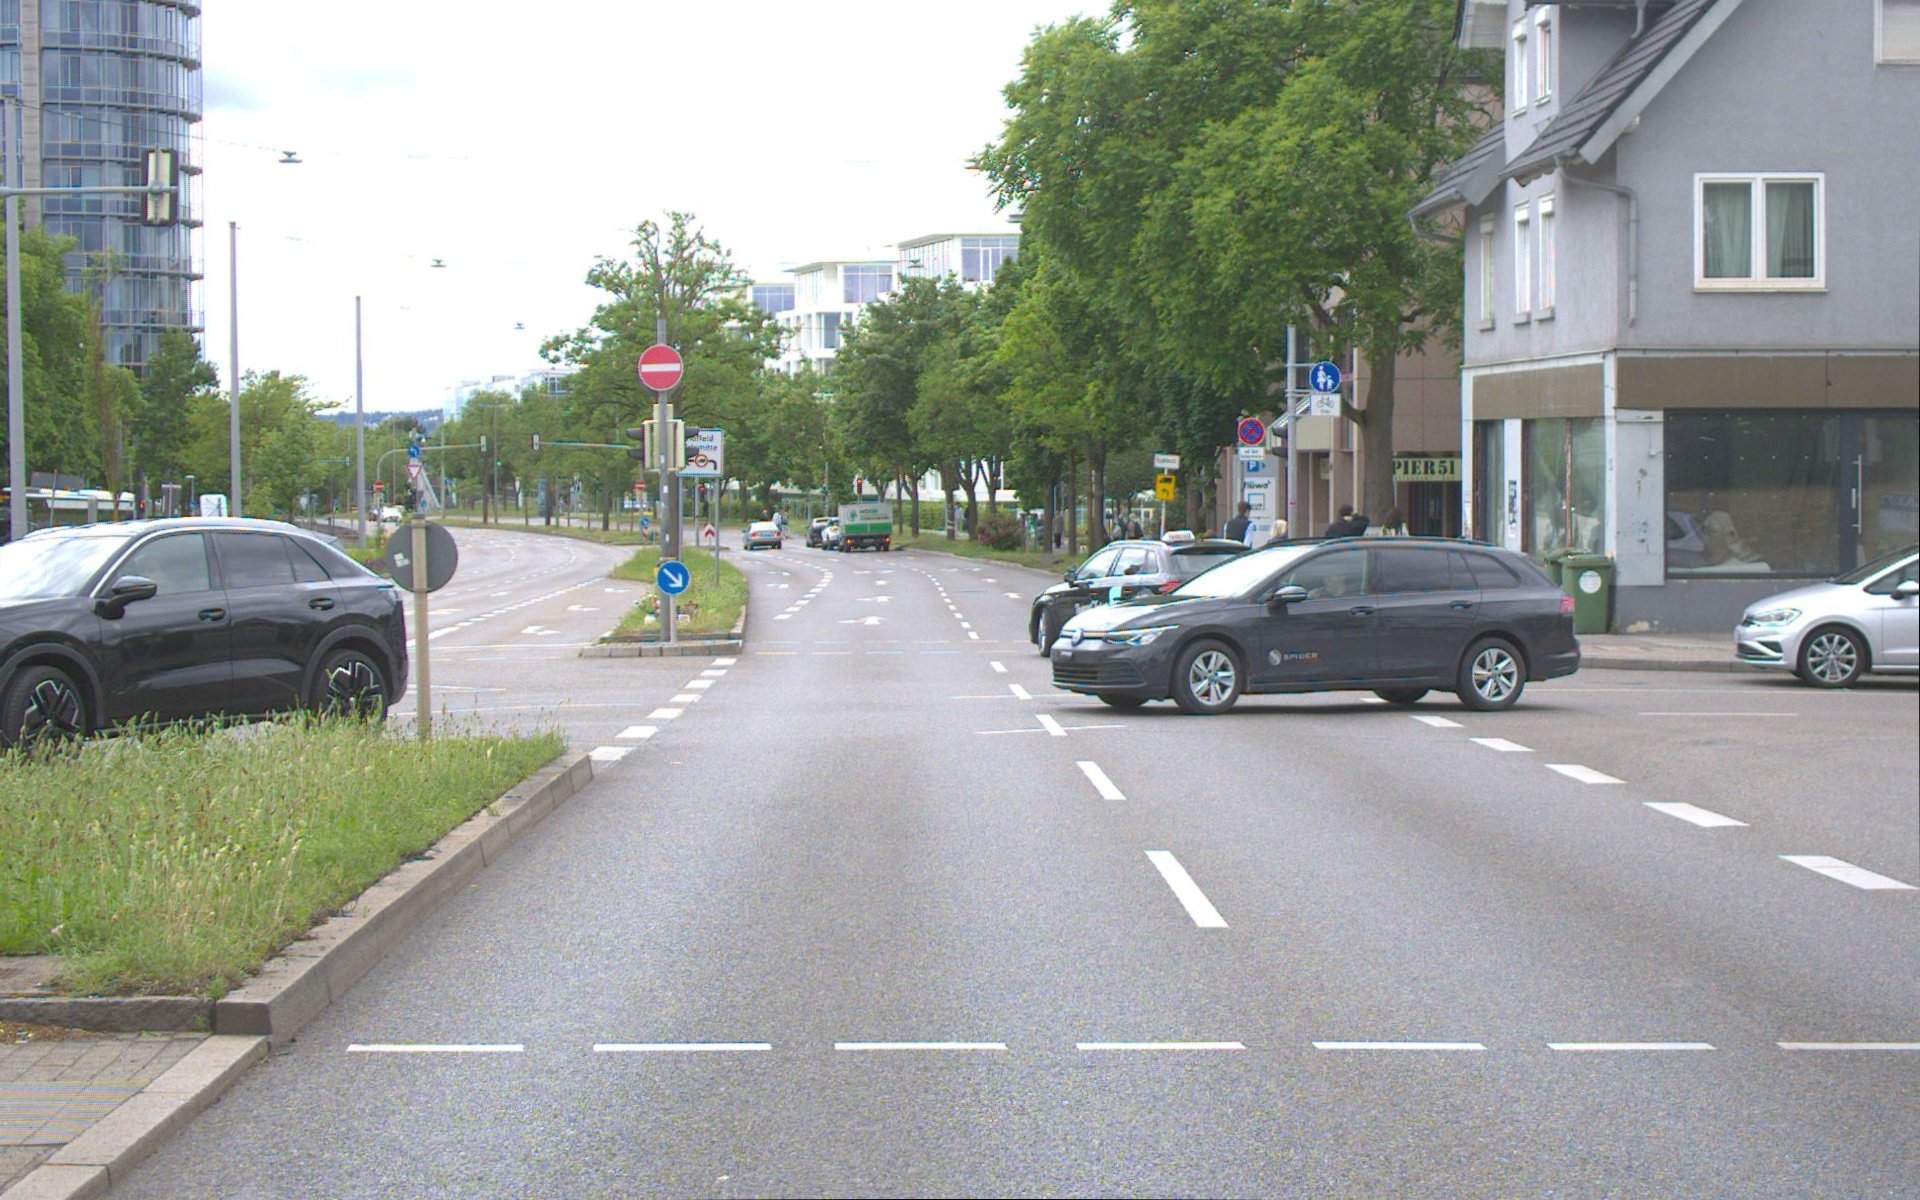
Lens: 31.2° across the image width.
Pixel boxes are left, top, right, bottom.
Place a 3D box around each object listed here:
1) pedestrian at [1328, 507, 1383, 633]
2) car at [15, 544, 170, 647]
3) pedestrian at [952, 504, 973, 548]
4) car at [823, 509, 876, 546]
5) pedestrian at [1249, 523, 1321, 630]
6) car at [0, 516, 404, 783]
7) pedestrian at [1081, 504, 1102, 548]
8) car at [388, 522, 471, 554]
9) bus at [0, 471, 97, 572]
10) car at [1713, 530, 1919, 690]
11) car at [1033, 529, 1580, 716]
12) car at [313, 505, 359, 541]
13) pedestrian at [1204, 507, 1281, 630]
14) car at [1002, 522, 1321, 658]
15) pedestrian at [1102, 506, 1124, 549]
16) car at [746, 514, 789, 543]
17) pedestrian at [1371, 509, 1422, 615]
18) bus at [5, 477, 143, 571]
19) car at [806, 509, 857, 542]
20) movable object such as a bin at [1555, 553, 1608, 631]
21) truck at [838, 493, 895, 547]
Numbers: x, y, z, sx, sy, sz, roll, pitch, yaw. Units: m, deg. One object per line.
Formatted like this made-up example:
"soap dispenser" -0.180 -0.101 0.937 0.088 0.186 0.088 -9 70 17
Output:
"pedestrian" 5.564 -0.429 48.386 0.705 1.754 1.052 -1 1 4
"car" -12.808 -0.094 50.927 1.684 1.457 3.556 -1 1 -5
"pedestrian" 0.121 -3.882 180.103 0.930 2.300 1.011 1 0 -10
"car" -5.324 -3.482 165.069 2.251 1.751 4.934 -1 1 -5
"pedestrian" 4.647 -0.338 49.152 0.867 1.502 0.708 -1 1 -9
"car" -5.496 0.244 21.388 1.838 1.516 4.065 1 2 31
"pedestrian" 4.790 -2.699 125.391 0.650 1.564 0.671 -1 1 -8
"car" -25.489 -2.971 165.079 3.554 1.487 1.706 0 1 23
"bus" -31.405 -2.573 114.466 3.144 3.214 10.286 -1 1 -3
"car" 9.834 0.108 34.743 4.101 1.535 1.828 2 1 5
"car" 2.935 0.166 29.156 4.273 1.476 1.715 0 2 -21
"car" -36.351 -4.469 200.262 1.965 2.007 4.000 1 1 -1
"pedestrian" 4.106 -0.460 49.959 0.868 1.773 0.707 -1 1 -43
"car" 2.309 -0.140 40.501 1.889 1.489 4.099 -1 1 -28
"pedestrian" 5.572 -2.640 125.257 0.650 1.564 0.671 -1 1 -8
"car" -9.706 -3.601 173.155 1.967 1.415 4.023 -1 1 -5
"pedestrian" 6.902 -0.607 54.309 0.705 1.656 0.870 0 1 13
"bus" -31.745 -2.714 123.469 3.144 3.214 7.766 -1 1 -2
"car" -6.521 -3.746 173.862 2.250 1.641 4.934 -1 1 -5
"movable object such as a bin" 7.957 -0.106 44.053 0.529 0.976 0.736 -1 1 -1
"truck" -4.278 -3.650 156.471 2.251 2.408 4.934 0 1 -5
